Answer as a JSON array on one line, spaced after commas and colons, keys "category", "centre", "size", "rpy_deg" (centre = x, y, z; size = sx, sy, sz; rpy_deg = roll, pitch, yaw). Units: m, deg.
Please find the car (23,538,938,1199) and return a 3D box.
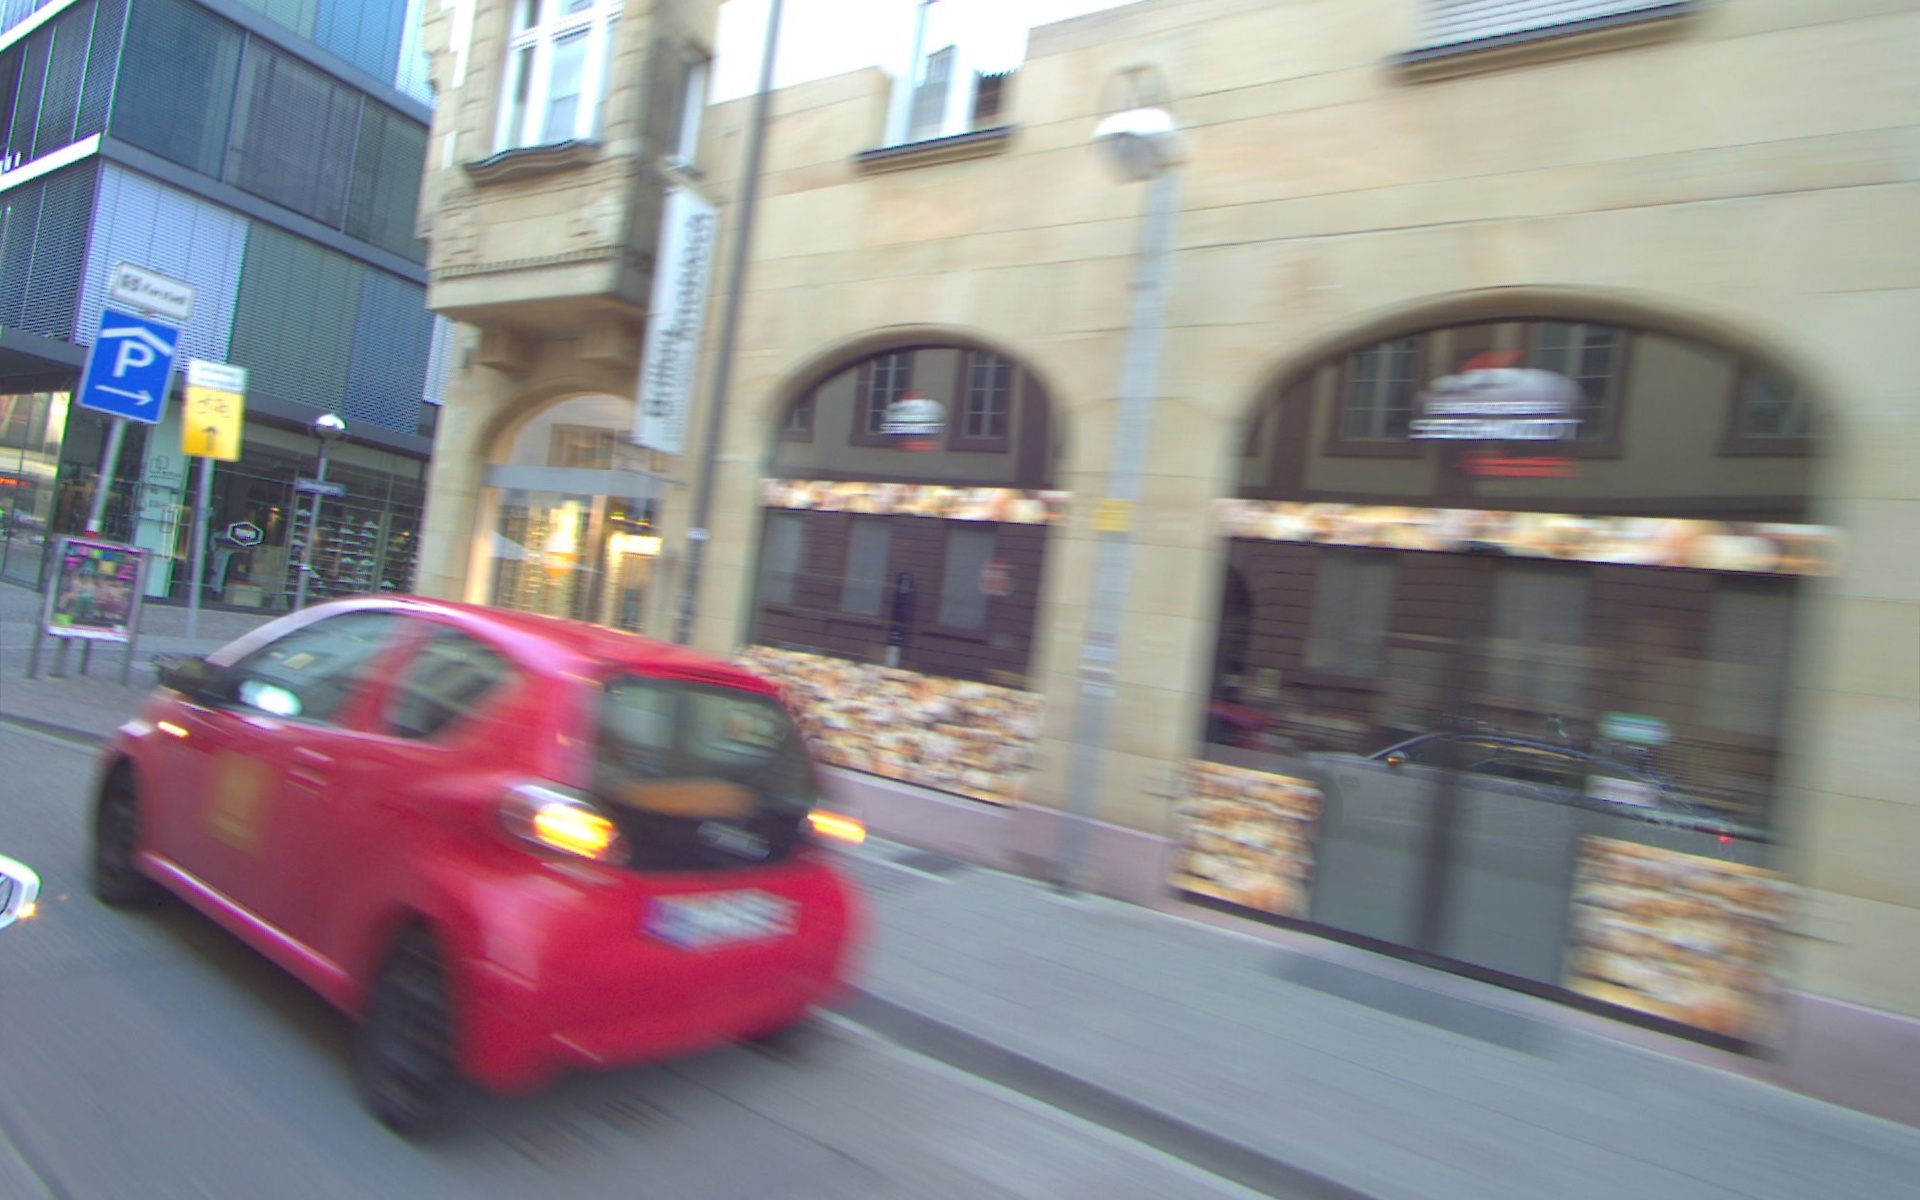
[{"category": "car", "centre": [-2.090, 0.743, 4.139], "size": [3.539, 1.438, 1.620], "rpy_deg": [6, -7, 34]}]
